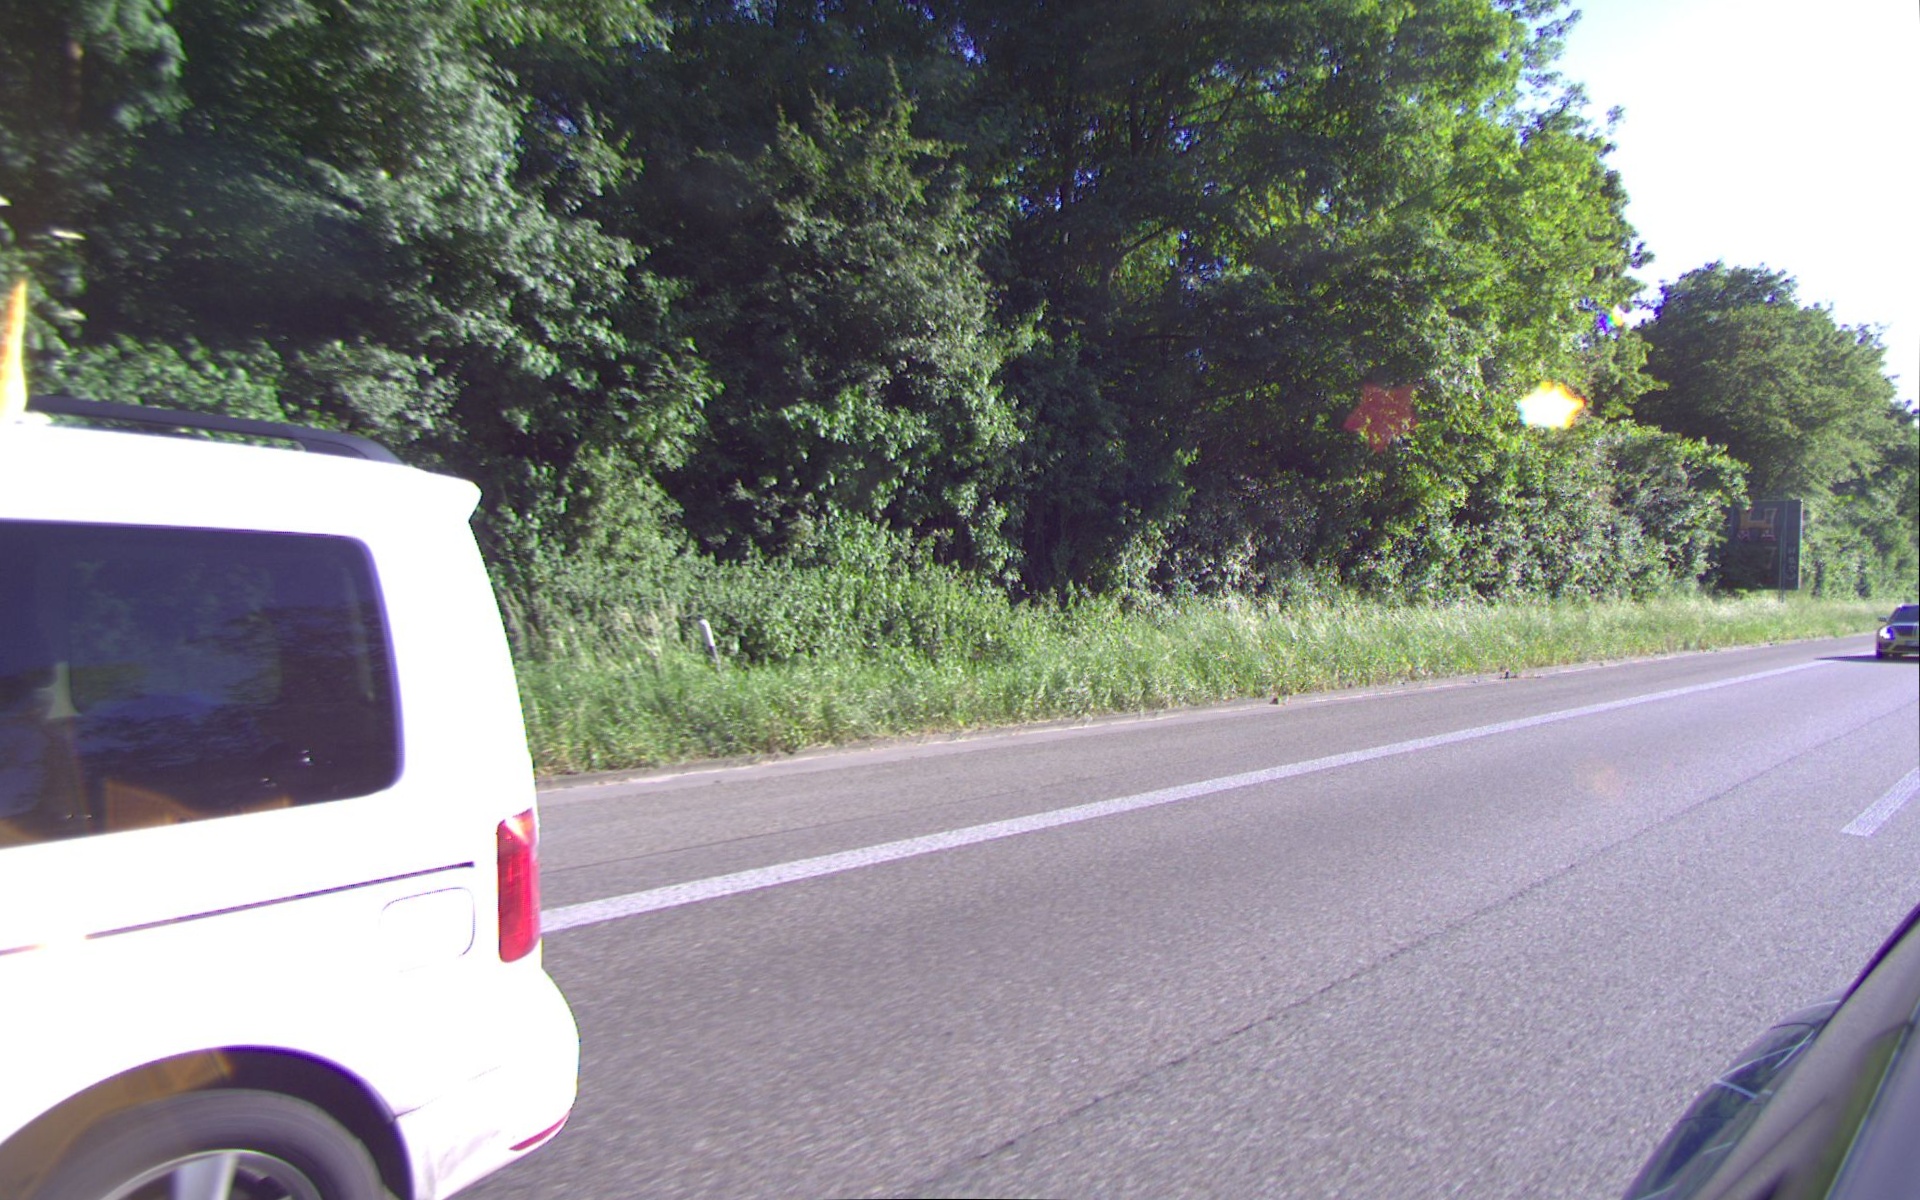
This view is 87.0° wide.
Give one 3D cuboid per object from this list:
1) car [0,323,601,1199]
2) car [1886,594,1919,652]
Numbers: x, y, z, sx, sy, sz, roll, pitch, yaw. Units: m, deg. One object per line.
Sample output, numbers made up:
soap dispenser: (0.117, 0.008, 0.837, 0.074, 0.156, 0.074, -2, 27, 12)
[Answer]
car: (-3.035, 0.510, 1.331, 4.508, 1.836, 1.802, -1, 0, -41)
car: (25.767, 0.581, 26.545, 3.811, 1.467, 1.793, 0, 0, -42)
